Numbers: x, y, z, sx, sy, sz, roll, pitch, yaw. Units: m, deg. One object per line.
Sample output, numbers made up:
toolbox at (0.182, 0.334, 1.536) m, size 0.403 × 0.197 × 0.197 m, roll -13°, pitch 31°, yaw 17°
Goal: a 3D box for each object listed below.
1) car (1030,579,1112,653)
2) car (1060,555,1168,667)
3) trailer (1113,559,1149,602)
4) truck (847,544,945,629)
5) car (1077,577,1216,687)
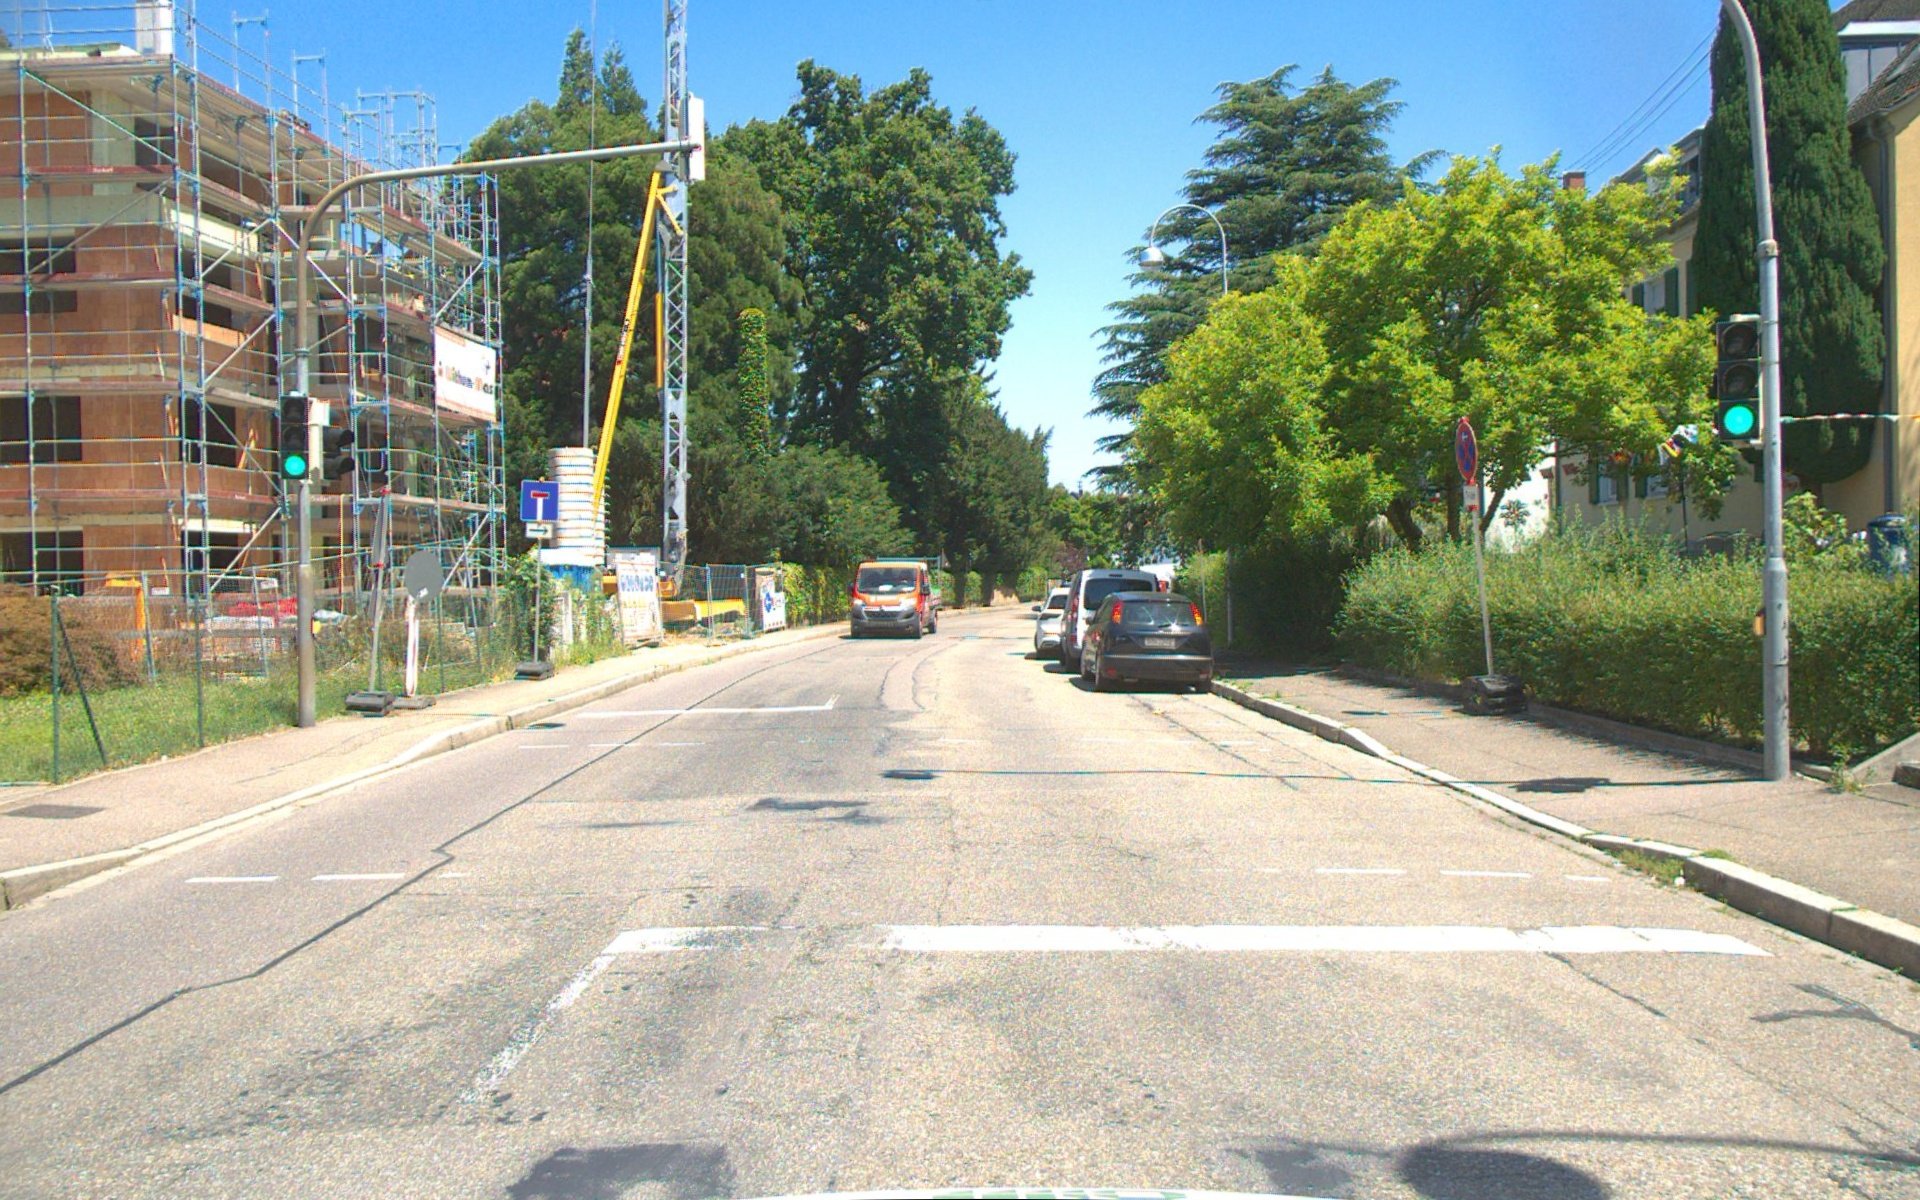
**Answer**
car at (2.371, 0.307, 35.336) m, size 1.627 × 1.460 × 4.131 m, roll 1°, pitch 1°, yaw 4°
car at (2.727, 0.167, 30.071) m, size 1.627 × 1.834 × 4.204 m, roll 2°, pitch 1°, yaw 2°
trailer at (8.746, -1.030, 84.471) m, size 1.644 × 2.104 × 3.712 m, roll 1°, pitch 1°, yaw 8°
truck at (-1.812, -0.439, 49.474) m, size 2.082 × 2.379 × 6.439 m, roll 0°, pitch 1°, yaw 5°
car at (2.764, 0.420, 25.218) m, size 1.595 × 1.488 × 4.016 m, roll 2°, pitch 1°, yaw 0°
